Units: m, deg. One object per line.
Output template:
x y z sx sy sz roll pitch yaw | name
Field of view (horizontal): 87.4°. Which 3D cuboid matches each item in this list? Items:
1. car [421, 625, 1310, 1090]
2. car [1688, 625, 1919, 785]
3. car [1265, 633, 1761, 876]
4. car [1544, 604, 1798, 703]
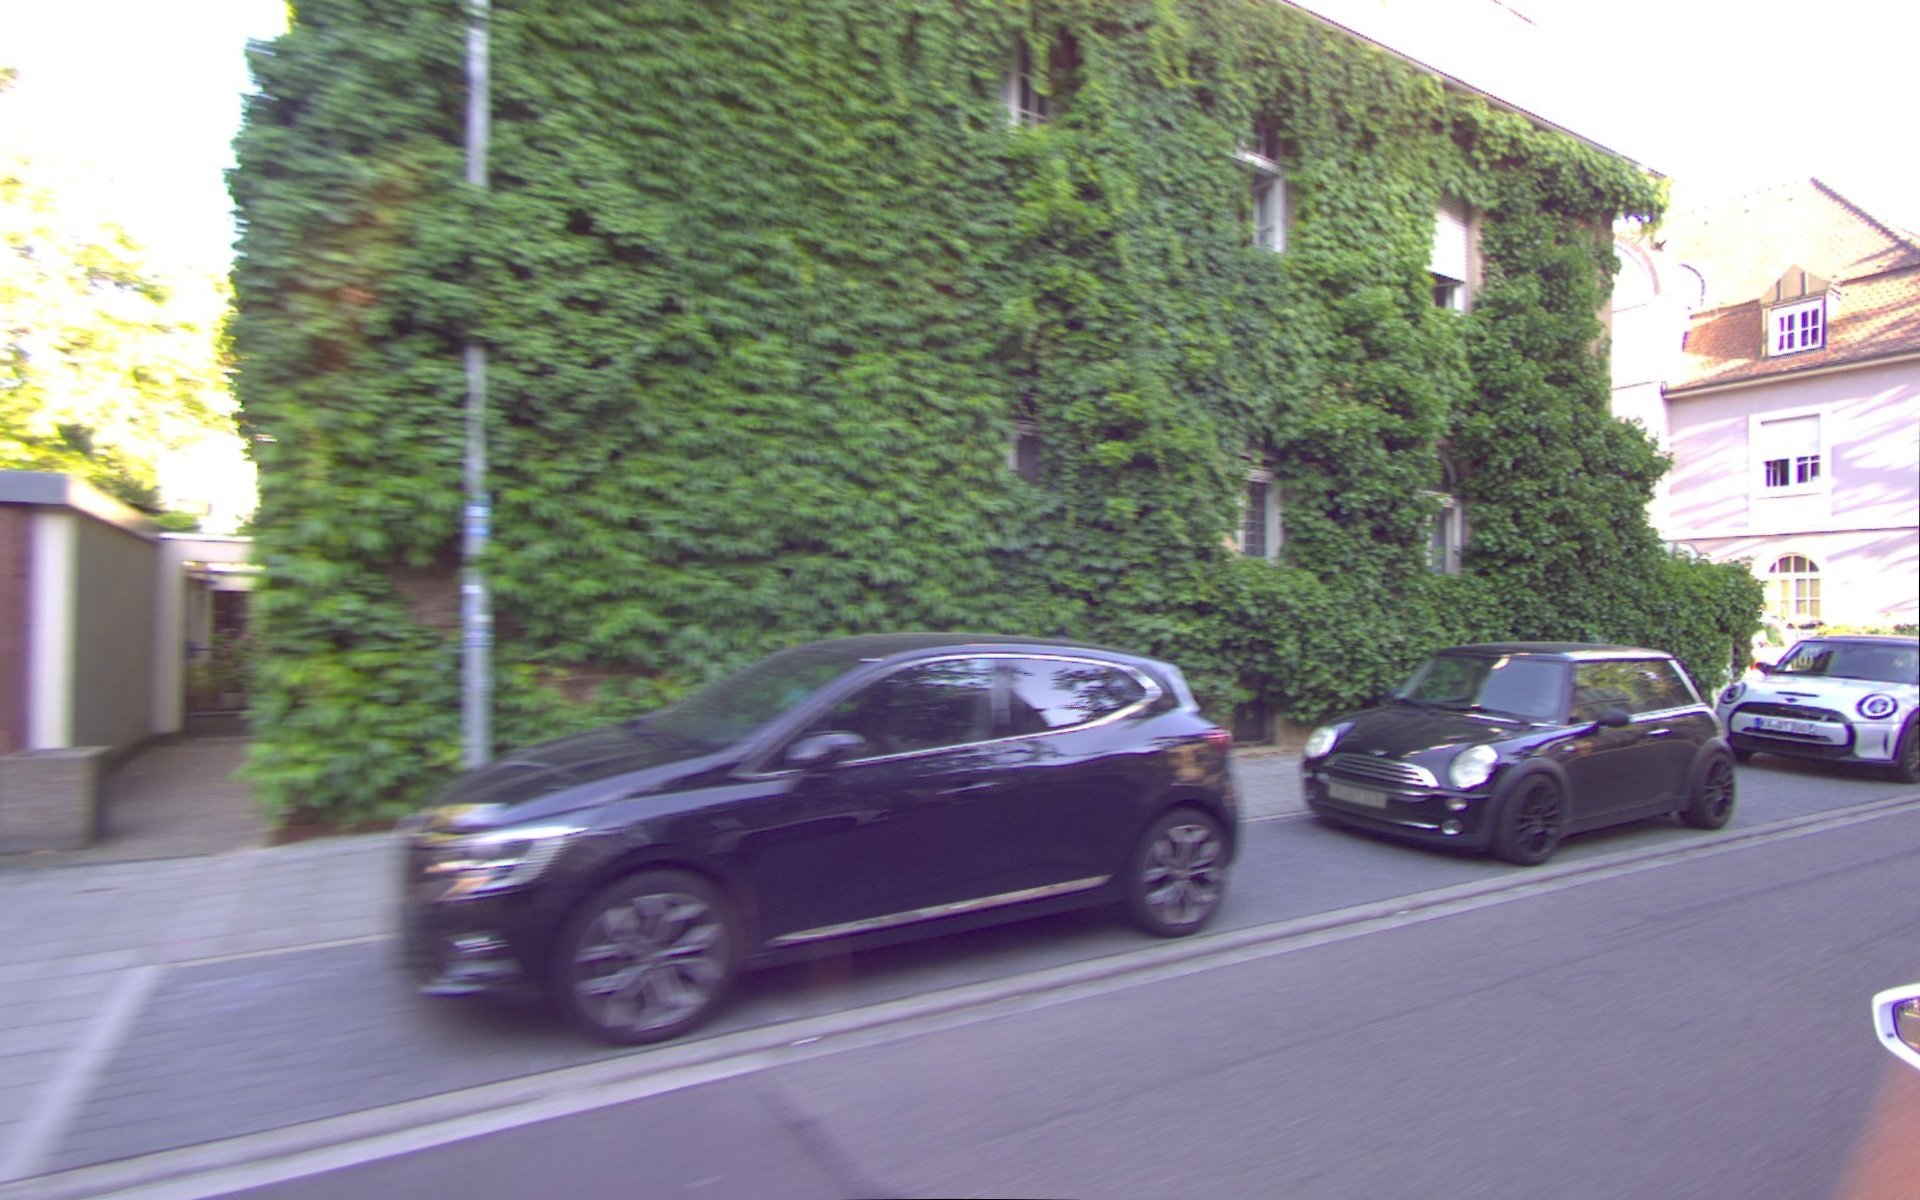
-0.334 0.875 4.945 4.050 1.440 1.642 1 0 -30 | car
10.162 1.057 11.317 3.869 1.480 1.696 1 0 -29 | car
4.283 0.983 7.694 3.677 1.398 1.678 1 0 -30 | car
16.256 1.200 23.196 1.979 2.040 4.377 4 -3 -32 | car
